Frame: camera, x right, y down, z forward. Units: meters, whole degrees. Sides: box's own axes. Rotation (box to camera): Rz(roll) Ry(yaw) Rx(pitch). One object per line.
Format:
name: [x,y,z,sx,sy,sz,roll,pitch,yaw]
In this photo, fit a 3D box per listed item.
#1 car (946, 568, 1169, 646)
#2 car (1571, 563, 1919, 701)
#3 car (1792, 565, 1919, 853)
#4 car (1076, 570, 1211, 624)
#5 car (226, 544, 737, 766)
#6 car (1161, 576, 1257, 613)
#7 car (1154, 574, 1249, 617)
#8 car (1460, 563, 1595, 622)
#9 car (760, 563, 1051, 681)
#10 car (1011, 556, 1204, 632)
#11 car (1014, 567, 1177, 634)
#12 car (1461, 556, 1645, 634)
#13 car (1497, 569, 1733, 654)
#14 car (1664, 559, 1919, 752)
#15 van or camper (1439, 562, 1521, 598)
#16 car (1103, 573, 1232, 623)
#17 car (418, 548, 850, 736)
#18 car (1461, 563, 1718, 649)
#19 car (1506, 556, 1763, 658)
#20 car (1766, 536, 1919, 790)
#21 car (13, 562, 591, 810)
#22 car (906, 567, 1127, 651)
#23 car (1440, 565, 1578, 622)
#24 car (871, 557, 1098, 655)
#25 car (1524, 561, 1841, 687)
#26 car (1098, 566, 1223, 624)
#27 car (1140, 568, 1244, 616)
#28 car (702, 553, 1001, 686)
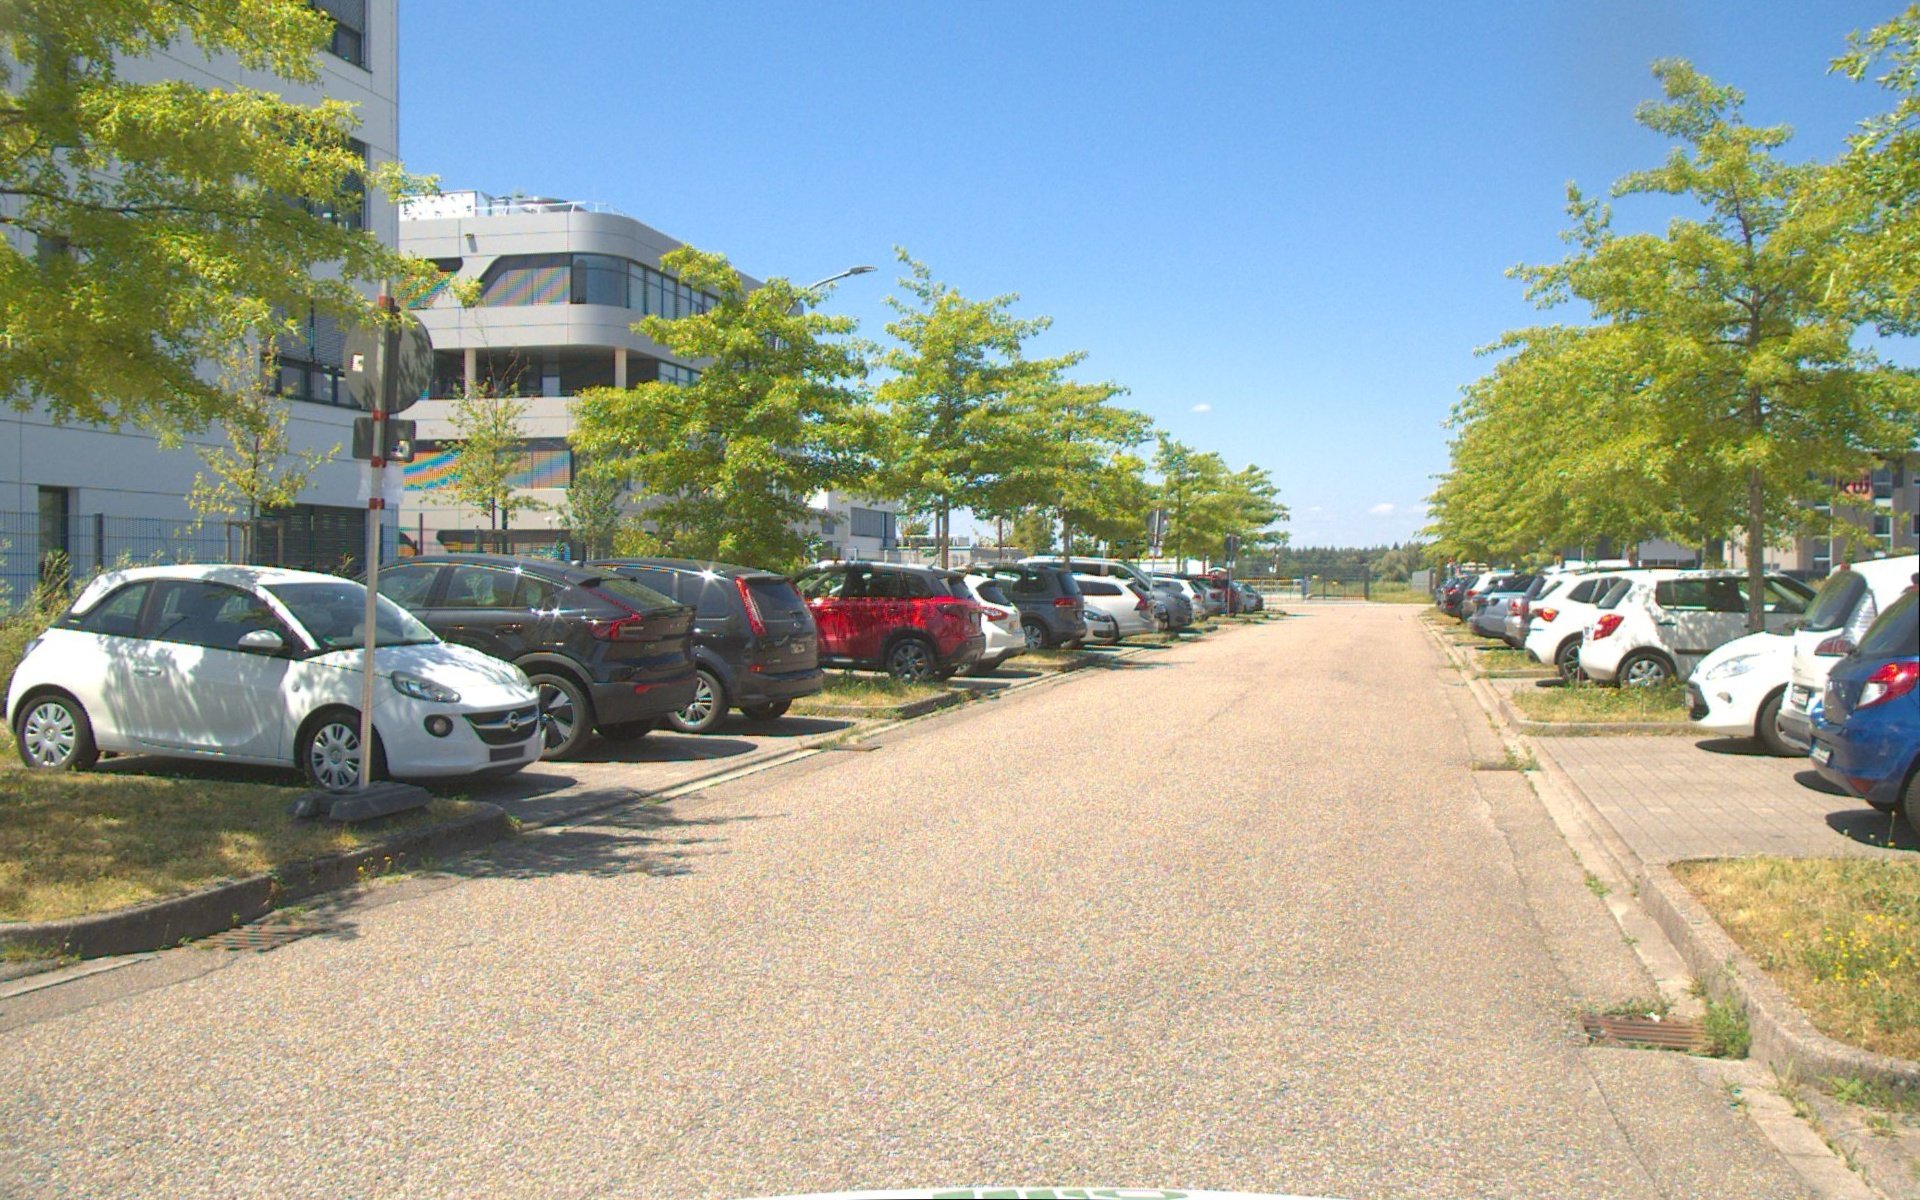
car: [2.158,0.121,36.096,4.613,1.472,1.859,2,1,12]
car: [9.404,0.358,19.783,3.753,1.551,1.781,-1,1,15]
car: [6.936,0.512,9.146,3.912,1.516,1.728,-2,1,19]
car: [5.716,-0.114,51.381,3.951,1.486,1.606,3,1,12]
car: [-4.029,0.400,14.188,3.756,1.621,1.831,2,1,11]
car: [10.806,-0.253,71.677,3.989,1.448,1.875,2,1,11]
car: [9.503,-0.199,64.916,3.578,1.535,1.733,2,1,11]
car: [17.459,-0.229,51.078,3.793,1.707,1.783,-1,0,15]
car: [-0.818,0.288,25.479,4.084,1.539,1.808,3,2,16]
car: [4.078,-0.188,45.628,4.963,1.924,1.998,2,1,16]
car: [3.497,-0.005,42.547,3.885,1.509,1.765,3,1,15]
car: [15.214,-0.125,42.679,4.310,1.862,1.797,-1,0,16]
car: [12.287,0.209,31.257,3.961,1.478,1.647,-1,0,15]
car: [8.075,0.411,14.039,3.540,1.488,1.612,-3,0,10]
van or camper: [33.249,-1.298,105.889,4.831,2.201,2.001,1,-1,14]
car: [7.080,-0.091,56.361,4.105,1.506,1.714,3,1,15]
car: [-3.205,0.357,16.494,3.823,1.619,1.729,2,1,14]
car: [12.763,0.114,33.802,4.615,1.588,1.915,-1,0,11]
car: [11.757,0.123,29.084,3.961,1.653,1.694,-1,0,15]
car: [7.862,0.340,11.278,4.024,1.679,1.775,-2,1,20]
car: [-4.598,0.520,11.733,3.430,1.466,1.729,2,1,14]
car: [1.180,0.156,33.727,4.219,1.499,1.729,2,1,13]
car: [17.799,-0.224,53.791,4.084,1.726,1.784,-1,0,14]
car: [0.488,0.082,31.794,4.030,1.663,1.729,2,1,14]
car: [9.603,0.297,22.254,3.755,1.580,1.780,0,1,20]
car: [6.558,-0.176,53.892,3.902,1.707,1.779,2,1,10]
car: [8.765,-0.308,62.404,3.658,1.649,1.818,2,1,15]
car: [-1.461,0.229,22.859,3.757,1.619,1.729,2,1,13]
